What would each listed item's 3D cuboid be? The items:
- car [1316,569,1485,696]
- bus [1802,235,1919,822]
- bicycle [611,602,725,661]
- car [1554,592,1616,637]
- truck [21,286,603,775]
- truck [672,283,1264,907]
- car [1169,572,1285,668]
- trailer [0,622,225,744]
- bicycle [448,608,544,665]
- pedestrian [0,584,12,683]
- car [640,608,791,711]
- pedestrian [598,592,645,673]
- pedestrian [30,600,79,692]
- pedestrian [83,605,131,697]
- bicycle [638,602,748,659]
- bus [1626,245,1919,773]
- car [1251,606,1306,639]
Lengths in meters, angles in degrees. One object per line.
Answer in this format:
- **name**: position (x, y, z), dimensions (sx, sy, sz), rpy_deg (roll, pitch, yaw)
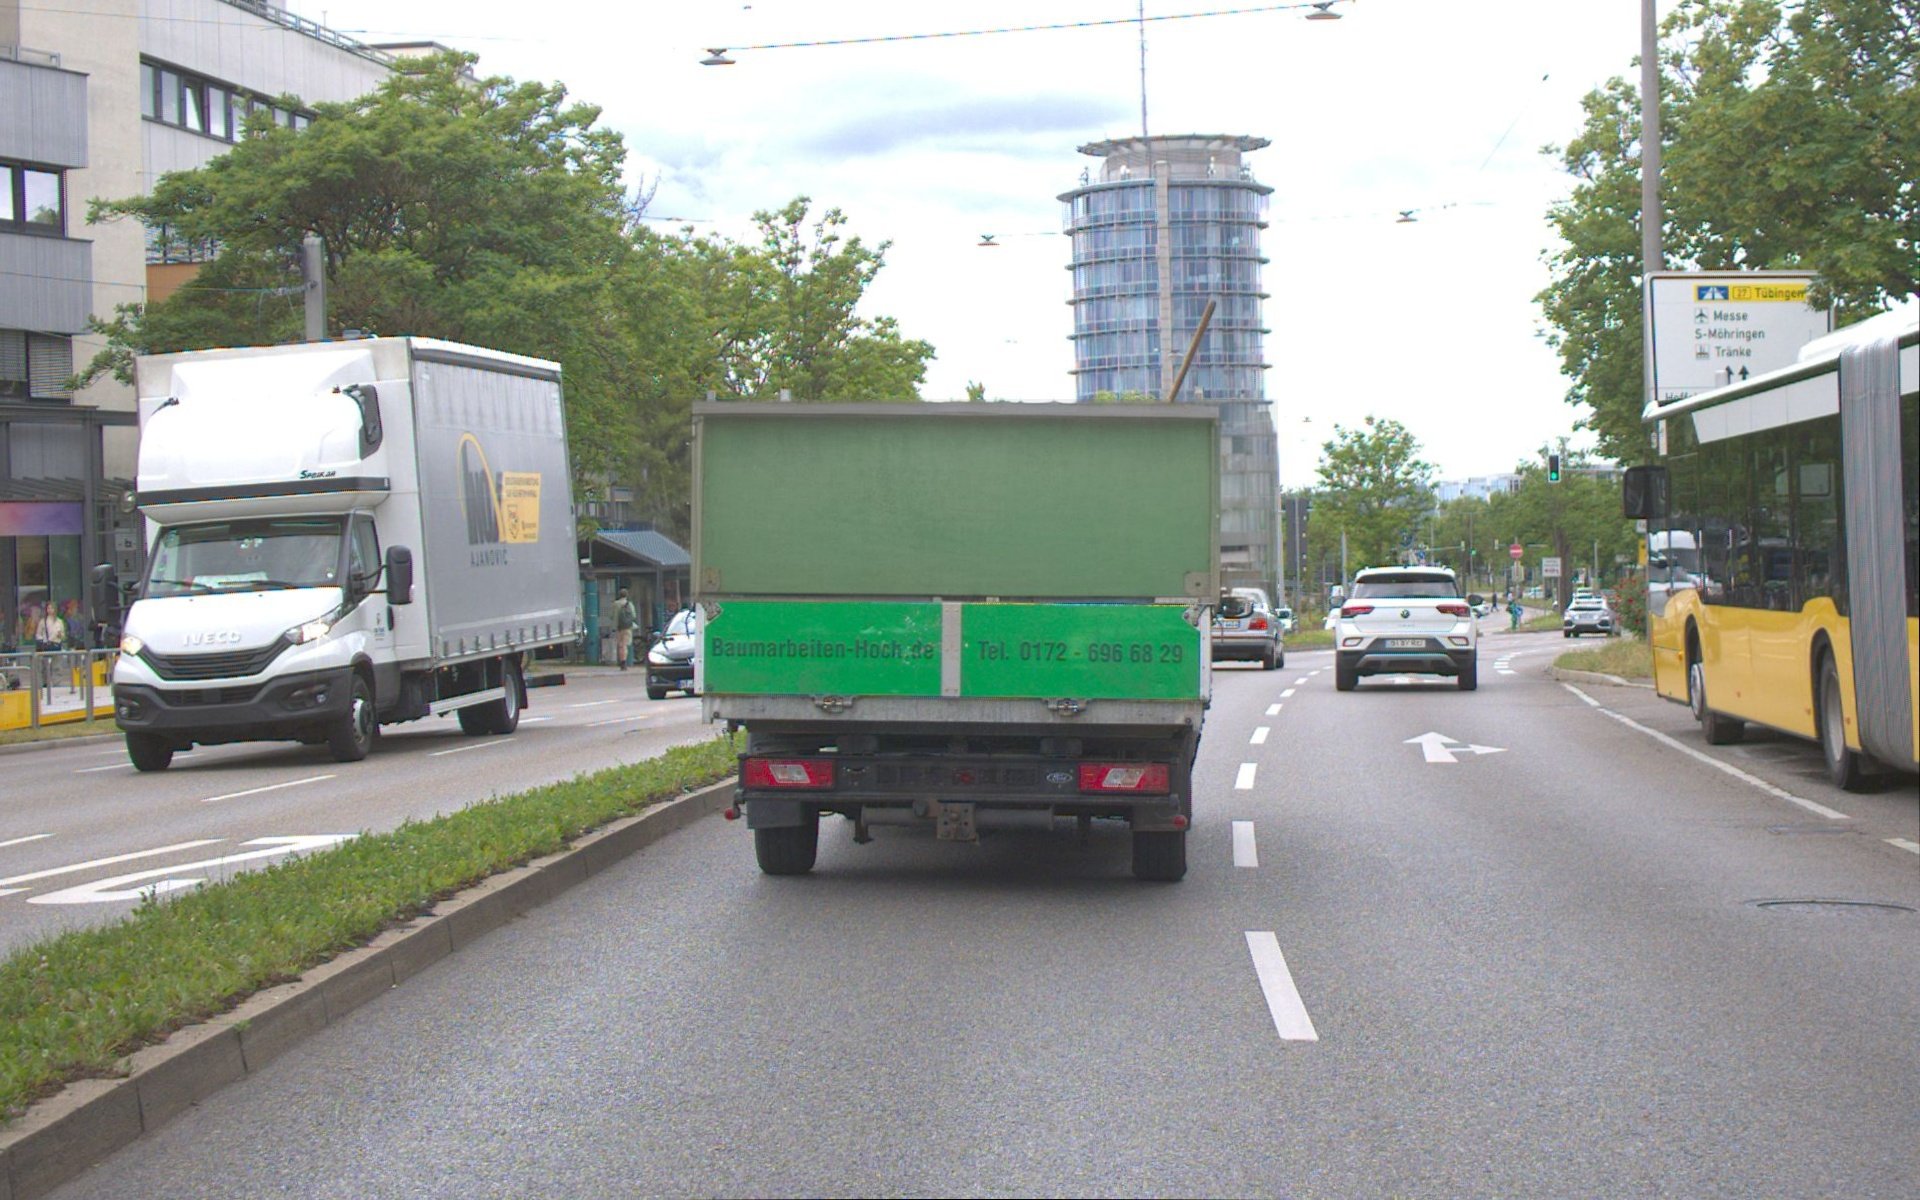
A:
- **car**: position (5.662, 0.377, 44.653), dimensions (1.868, 1.500, 4.772), rpy_deg (-1, 1, 4)
- **bus**: position (6.703, -0.417, 17.458), dimensions (3.036, 3.225, 9.337), rpy_deg (-2, 0, 4)
- **bicycle**: position (-7.847, 0.857, 92.503), dimensions (2.899, 1.501, 0.891), rpy_deg (-2, 0, 7)
- **car**: position (22.562, 0.520, 124.265), dimensions (1.994, 1.547, 3.999), rpy_deg (-2, -1, 8)
- **truck**: position (-5.785, -0.619, 32.680), dimensions (2.939, 3.944, 9.163), rpy_deg (-1, 1, 5)
- **truck**: position (0.245, -0.062, 17.682), dimensions (2.471, 2.602, 6.547), rpy_deg (0, 1, 4)
- **car**: position (4.536, 0.302, 58.648), dimensions (1.868, 1.500, 4.772), rpy_deg (-1, 1, 4)
- **trailer**: position (-12.545, 1.061, 44.476), dimensions (2.841, 1.328, 12.125), rpy_deg (-2, 0, 3)
- **bicycle**: position (-9.594, 0.744, 71.155), dimensions (1.960, 1.157, 0.604), rpy_deg (0, 1, -42)
- **pedestrian**: position (-15.671, 0.551, 54.851), dimensions (0.747, 1.568, 0.817), rpy_deg (-2, 0, -40)
- **car**: position (-3.576, 0.853, 50.918), dimensions (1.506, 1.341, 3.948), rpy_deg (-3, 0, 6)
- **pedestrian**: position (-7.685, 0.734, 78.068), dimensions (0.704, 1.816, 1.213), rpy_deg (1, -1, 12)
- **pedestrian**: position (-15.640, 0.786, 59.370), dimensions (0.599, 1.568, 0.620), rpy_deg (-2, 0, 5)
- **pedestrian**: position (-14.720, 0.876, 59.340), dimensions (0.599, 1.568, 0.620), rpy_deg (-2, 0, 5)
- **bicycle**: position (-7.335, 0.839, 94.491), dimensions (2.899, 1.501, 0.805), rpy_deg (-2, 0, 7)
- **bus**: position (7.148, -0.533, 25.968), dimensions (2.983, 3.230, 9.864), rpy_deg (2, 0, 5)
- **car**: position (15.255, 1.065, 164.377), dimensions (1.995, 1.481, 3.997), rpy_deg (-2, -1, 14)
